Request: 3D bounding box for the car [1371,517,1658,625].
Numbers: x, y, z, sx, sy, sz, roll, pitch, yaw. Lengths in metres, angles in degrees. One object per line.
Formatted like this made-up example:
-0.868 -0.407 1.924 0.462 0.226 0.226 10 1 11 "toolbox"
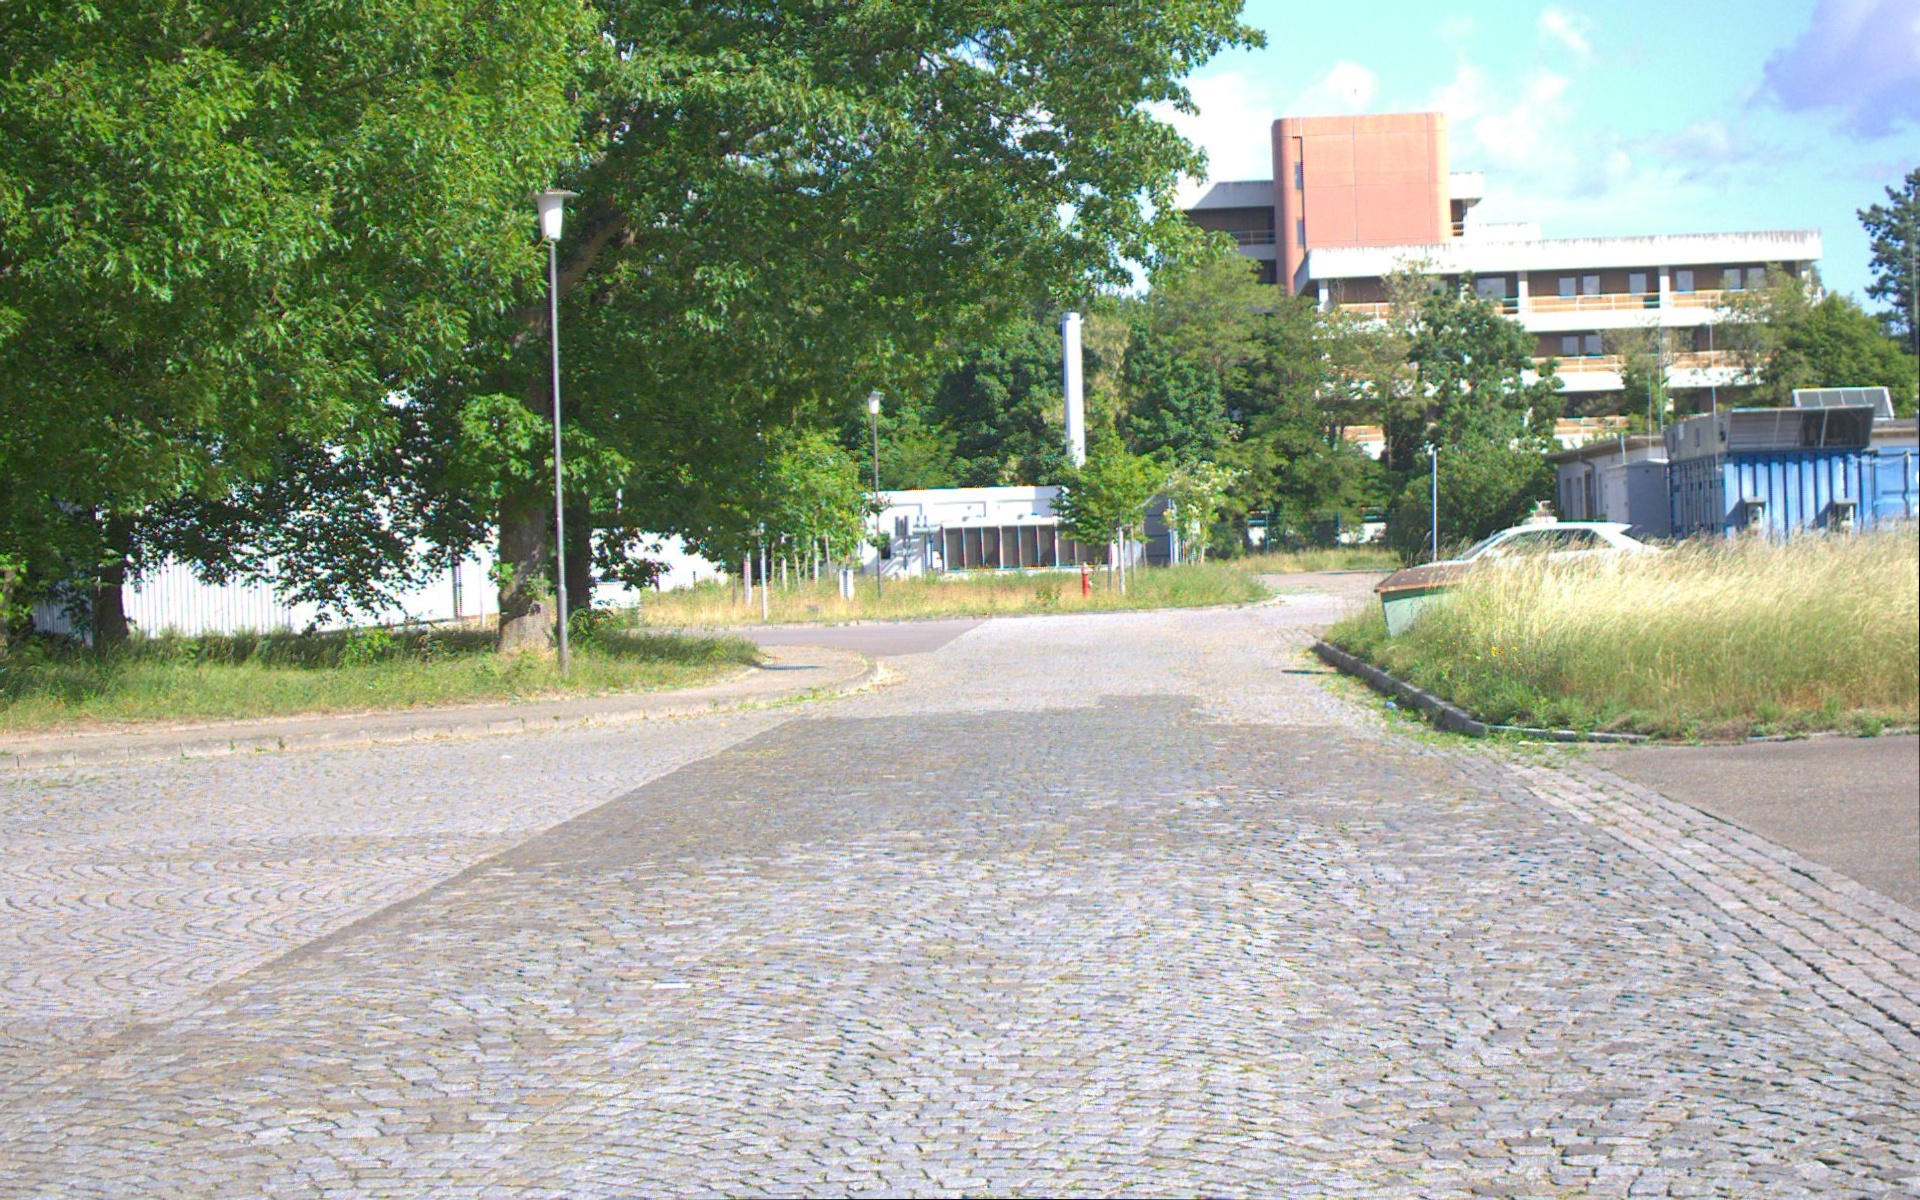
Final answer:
9.318 -0.491 58.061 4.504 1.642 2.000 -2 1 2 "car"
